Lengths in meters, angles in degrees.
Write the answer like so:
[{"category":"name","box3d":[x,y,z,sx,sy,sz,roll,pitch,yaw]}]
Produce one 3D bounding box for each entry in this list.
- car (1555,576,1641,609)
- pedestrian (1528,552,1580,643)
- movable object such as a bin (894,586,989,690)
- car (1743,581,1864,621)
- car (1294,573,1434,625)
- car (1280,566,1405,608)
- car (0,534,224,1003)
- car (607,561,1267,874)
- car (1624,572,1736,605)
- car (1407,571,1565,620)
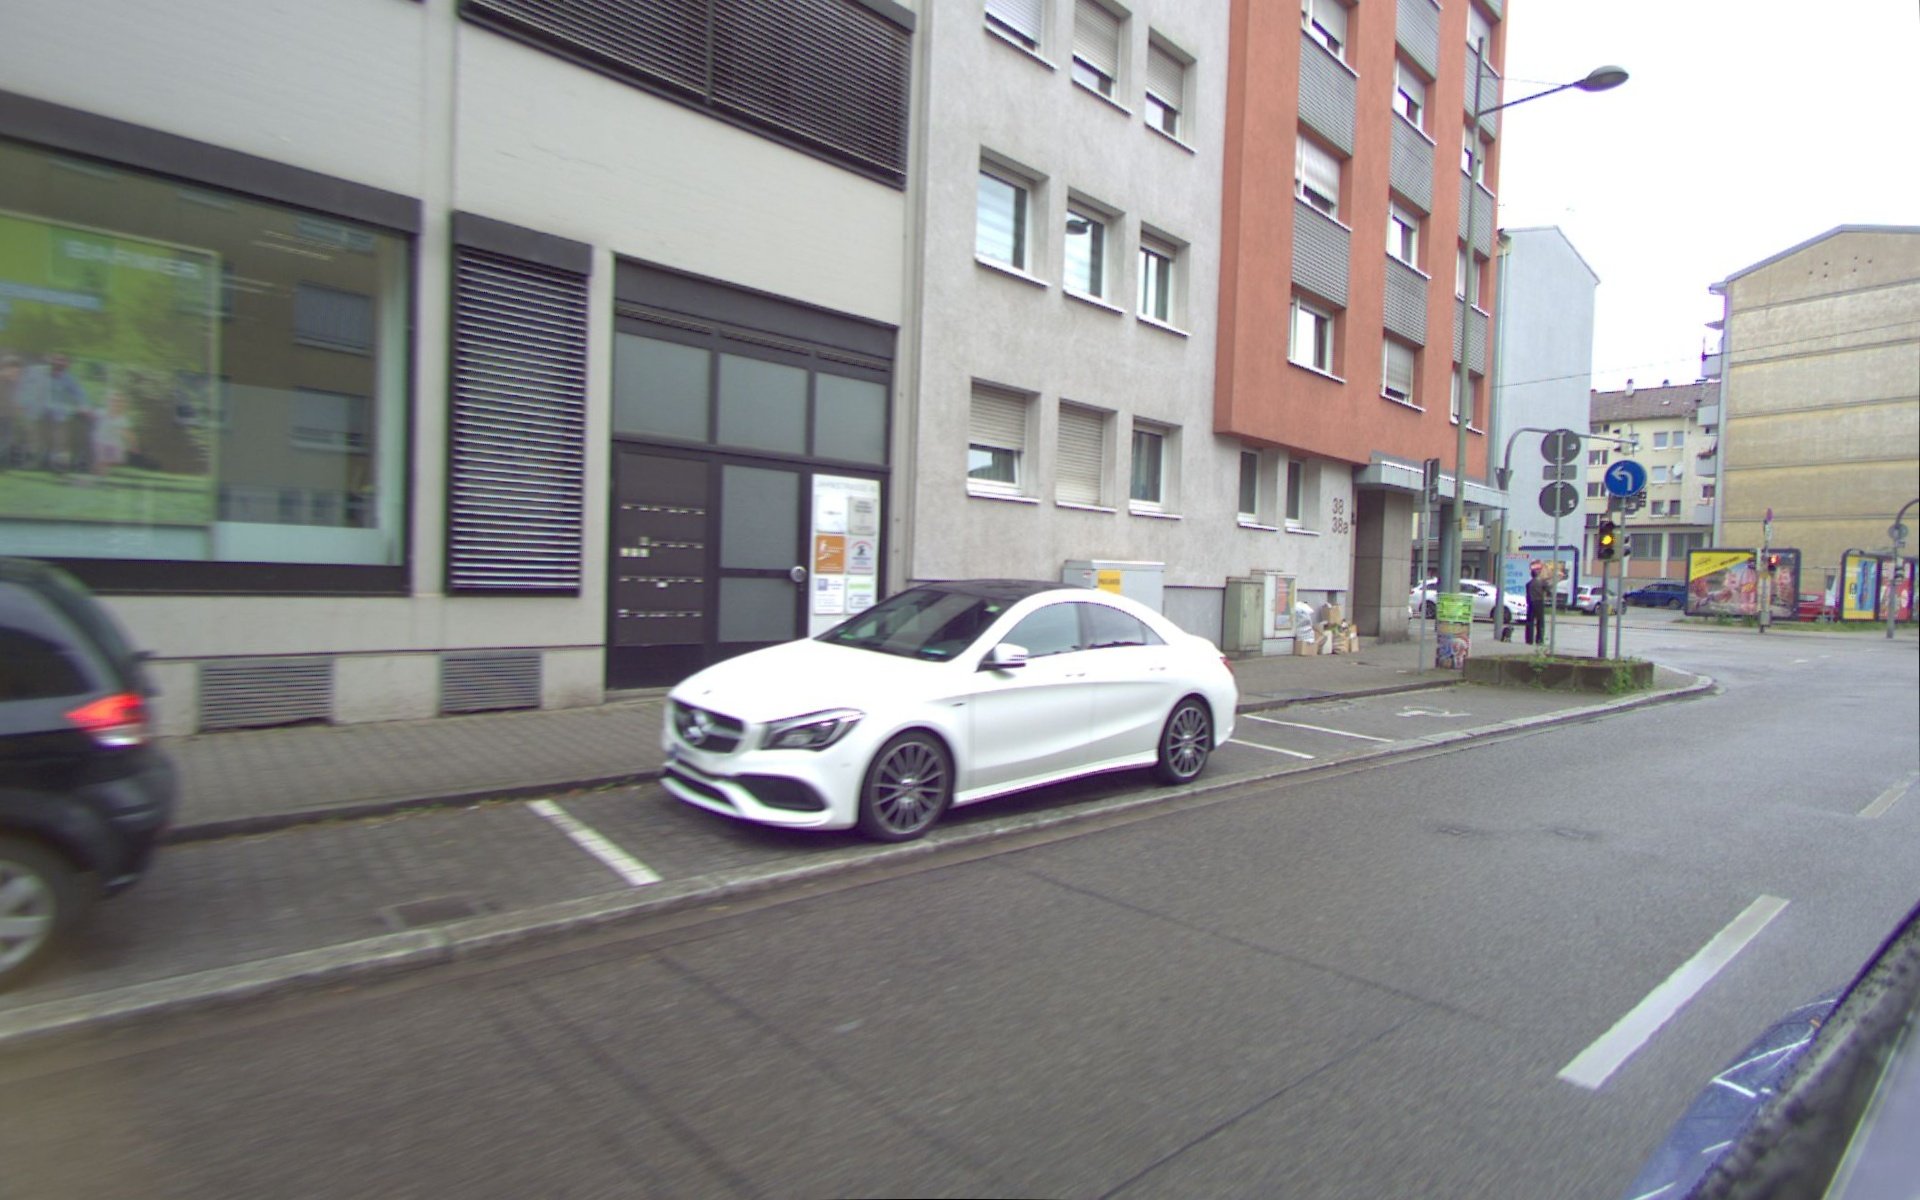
[{"category":"car","box3d":[30.633,-0.355,48.587,4.247,1.458,1.882,1,2,-34]},{"category":"pedestrian","box3d":[14.572,-0.072,24.831,0.755,2.185,0.828,1,0,-34]},{"category":"movable object such as a bin","box3d":[-0.207,0.400,11.355,0.713,1.081,0.772,3,2,44]},{"category":"car","box3d":[36.407,0.018,43.724,2.051,1.570,3.661,0,2,-39]},{"category":"car","box3d":[13.148,-0.077,33.155,1.670,1.504,3.962,0,3,-34]},{"category":"car","box3d":[15.497,-0.561,41.219,1.810,1.504,4.528,0,3,-34]},{"category":"car","box3d":[-4.697,0.506,2.978,4.008,1.459,1.719,0,4,-39]},{"category":"car","box3d":[0.118,0.530,7.014,4.502,1.418,1.777,0,4,-43]},{"category":"car","box3d":[39.422,-0.622,55.563,2.110,1.710,4.789,1,0,-15]},{"category":"car","box3d":[18.845,-0.216,36.475,1.883,1.504,4.667,0,3,-35]}]
